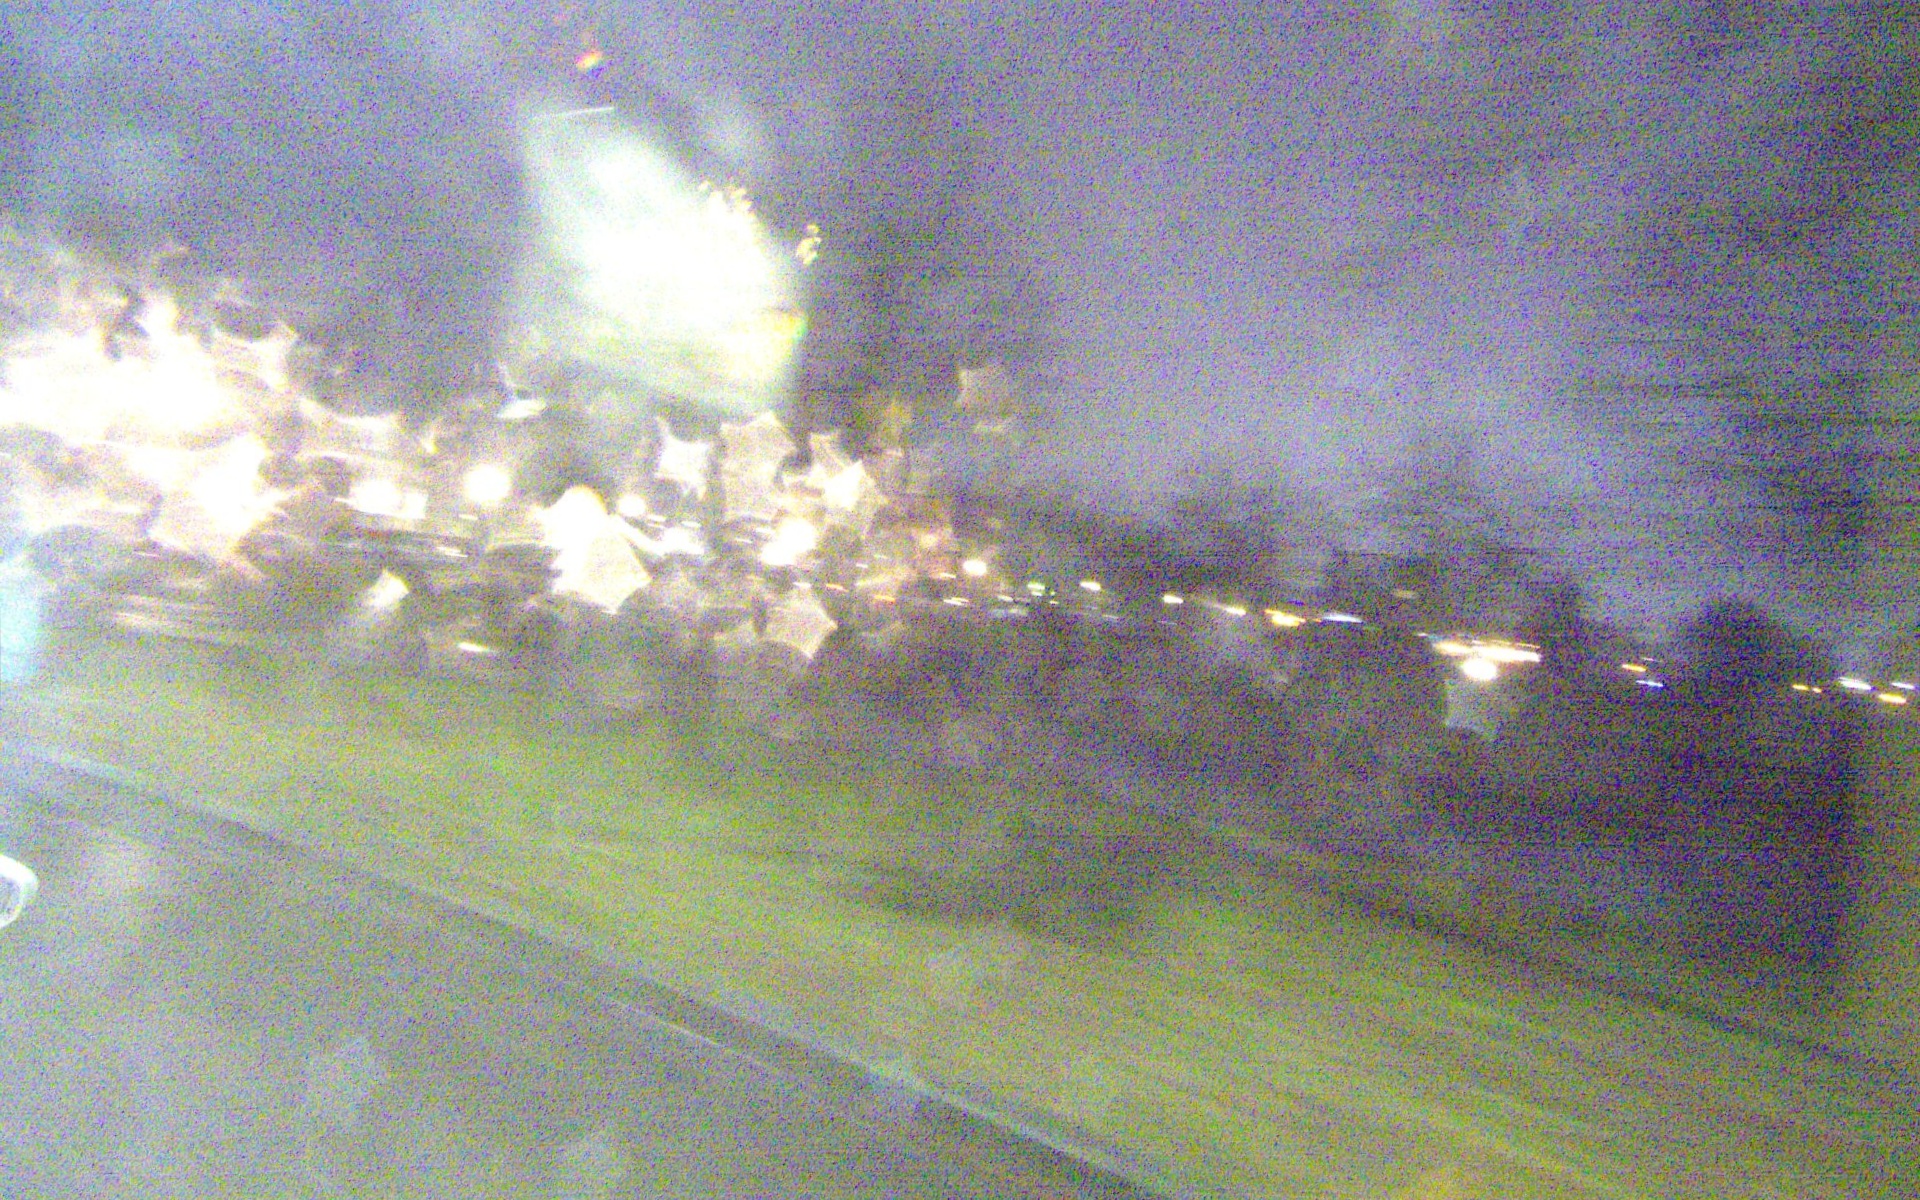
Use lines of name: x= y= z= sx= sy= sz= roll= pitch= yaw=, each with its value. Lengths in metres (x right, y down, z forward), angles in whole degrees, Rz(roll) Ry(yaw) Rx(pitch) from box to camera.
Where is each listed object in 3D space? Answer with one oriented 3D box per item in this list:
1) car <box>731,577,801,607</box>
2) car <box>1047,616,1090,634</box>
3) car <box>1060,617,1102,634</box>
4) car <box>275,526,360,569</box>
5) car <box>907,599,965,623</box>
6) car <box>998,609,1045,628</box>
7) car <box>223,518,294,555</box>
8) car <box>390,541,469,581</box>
car: x=-13.594 y=-0.545 z=70.442 sx=4.914 sy=1.555 sz=1.718 roll=6 pitch=-1 yaw=33
car: x=11.480 y=2.651 z=106.174 sx=4.082 sy=1.391 sz=1.718 roll=6 pitch=-1 yaw=33
car: x=13.077 y=2.777 z=108.832 sx=4.082 sy=1.391 sz=1.718 roll=6 pitch=-1 yaw=33
car: x=-29.328 y=-2.402 z=45.916 sx=3.848 sy=1.555 sz=1.718 roll=6 pitch=-1 yaw=33
car: x=-2.127 y=0.972 z=89.429 sx=4.914 sy=1.555 sz=1.718 roll=6 pitch=-1 yaw=33
car: x=5.973 y=1.798 z=97.475 sx=4.082 sy=1.391 sz=1.718 roll=6 pitch=-1 yaw=33
car: x=-37.606 y=-3.428 z=53.920 sx=3.848 sy=1.555 sz=1.718 roll=6 pitch=-1 yaw=33
car: x=-26.452 y=-1.936 z=50.168 sx=3.848 sy=1.555 sz=1.718 roll=6 pitch=-1 yaw=33
